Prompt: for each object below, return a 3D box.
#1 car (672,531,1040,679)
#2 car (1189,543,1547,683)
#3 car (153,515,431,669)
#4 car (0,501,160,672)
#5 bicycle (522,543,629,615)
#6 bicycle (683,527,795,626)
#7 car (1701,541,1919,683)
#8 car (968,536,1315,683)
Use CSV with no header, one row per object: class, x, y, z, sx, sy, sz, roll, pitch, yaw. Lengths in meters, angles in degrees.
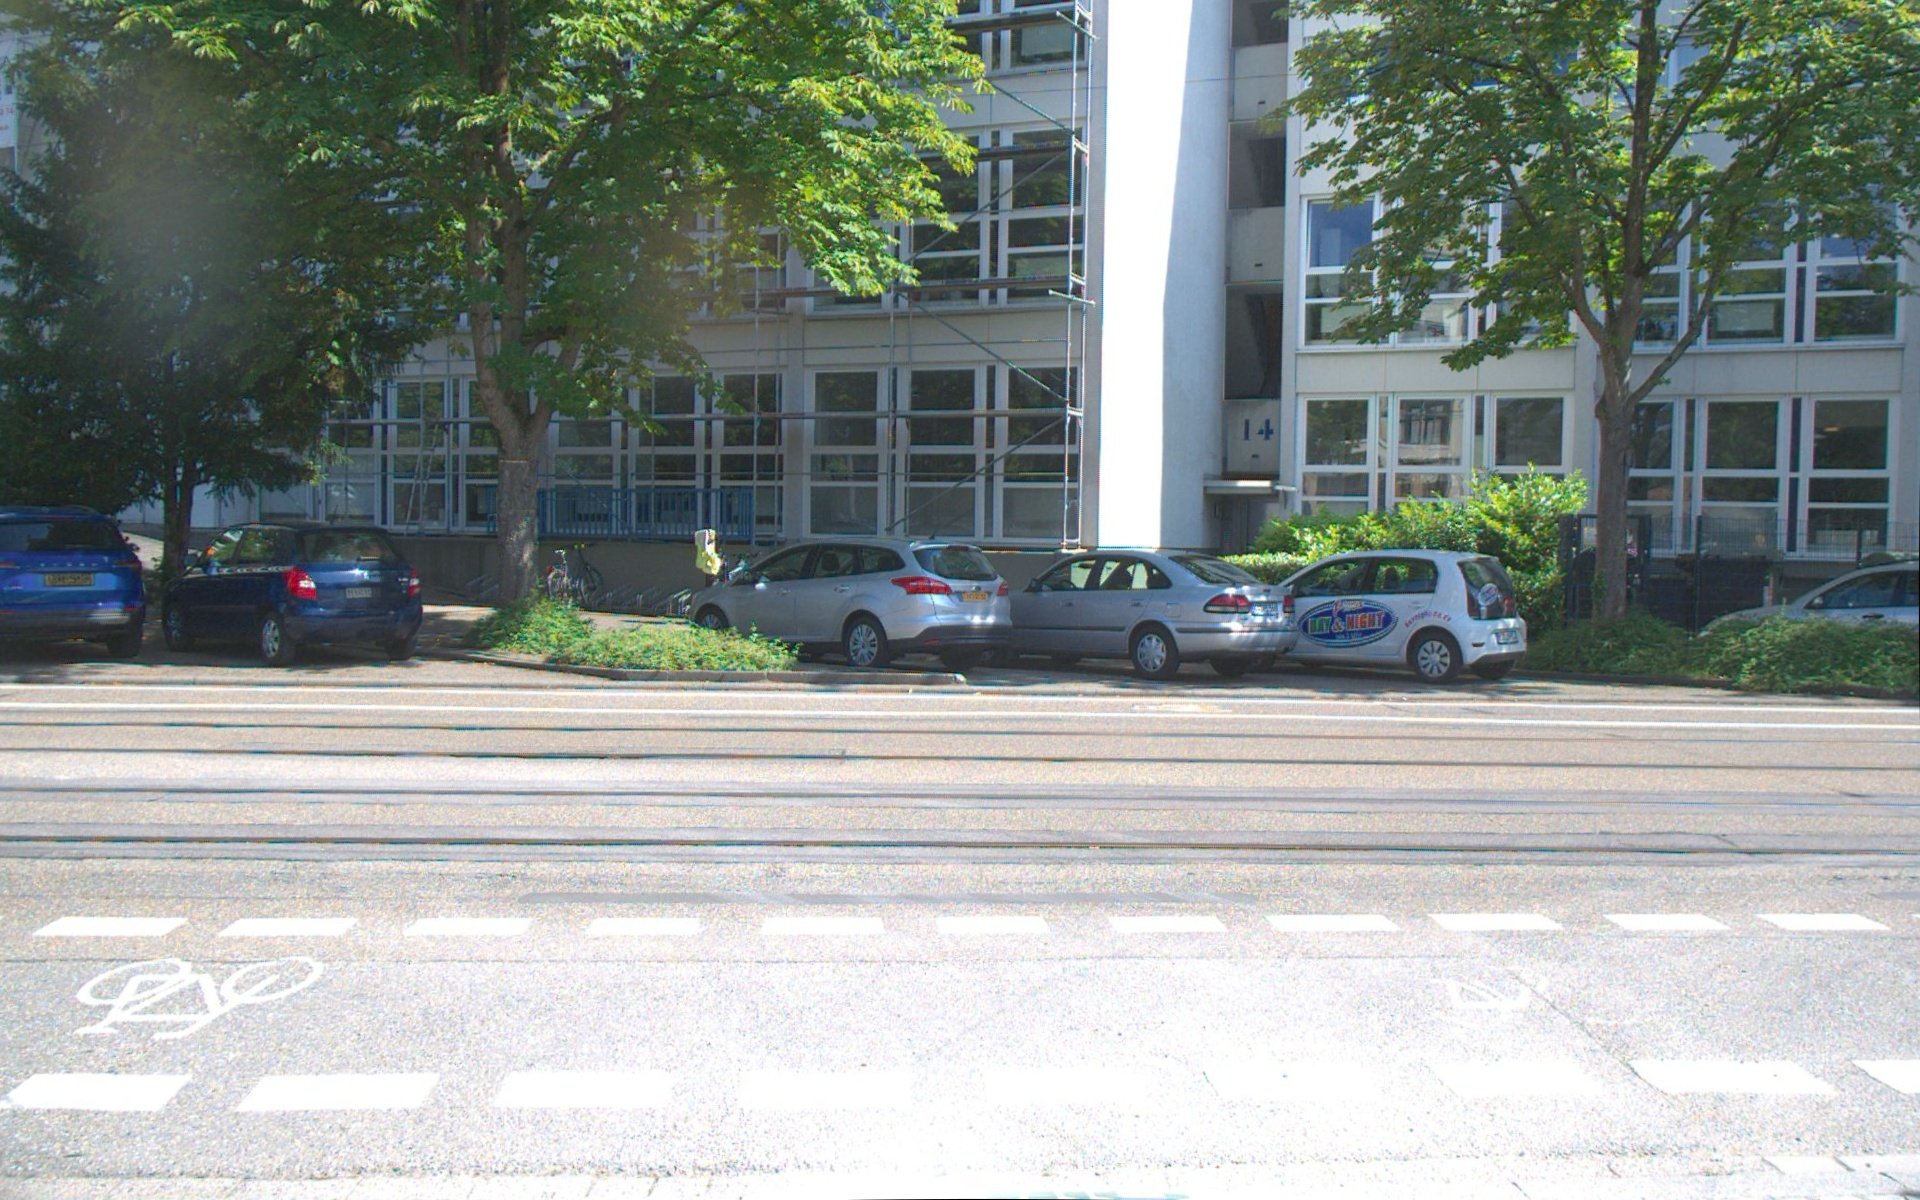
car,-1.311,-0.026,19.399,4.356,1.511,1.774,3,3,42
car,4.784,0.086,19.728,3.876,1.512,1.603,1,2,43
car,-7.530,-0.153,18.538,3.396,1.557,1.567,3,3,42
car,-10.489,-0.244,18.393,1.767,1.650,3.883,-2,5,-44
bicycle,-6.148,-0.363,26.587,0.725,1.104,2.205,1,2,15
bicycle,-3.428,-0.381,25.830,0.648,1.478,2.088,2,2,27
car,11.464,0.137,20.058,4.262,1.632,1.551,2,2,39
car,2.039,0.033,19.329,3.878,1.511,1.602,3,3,44
